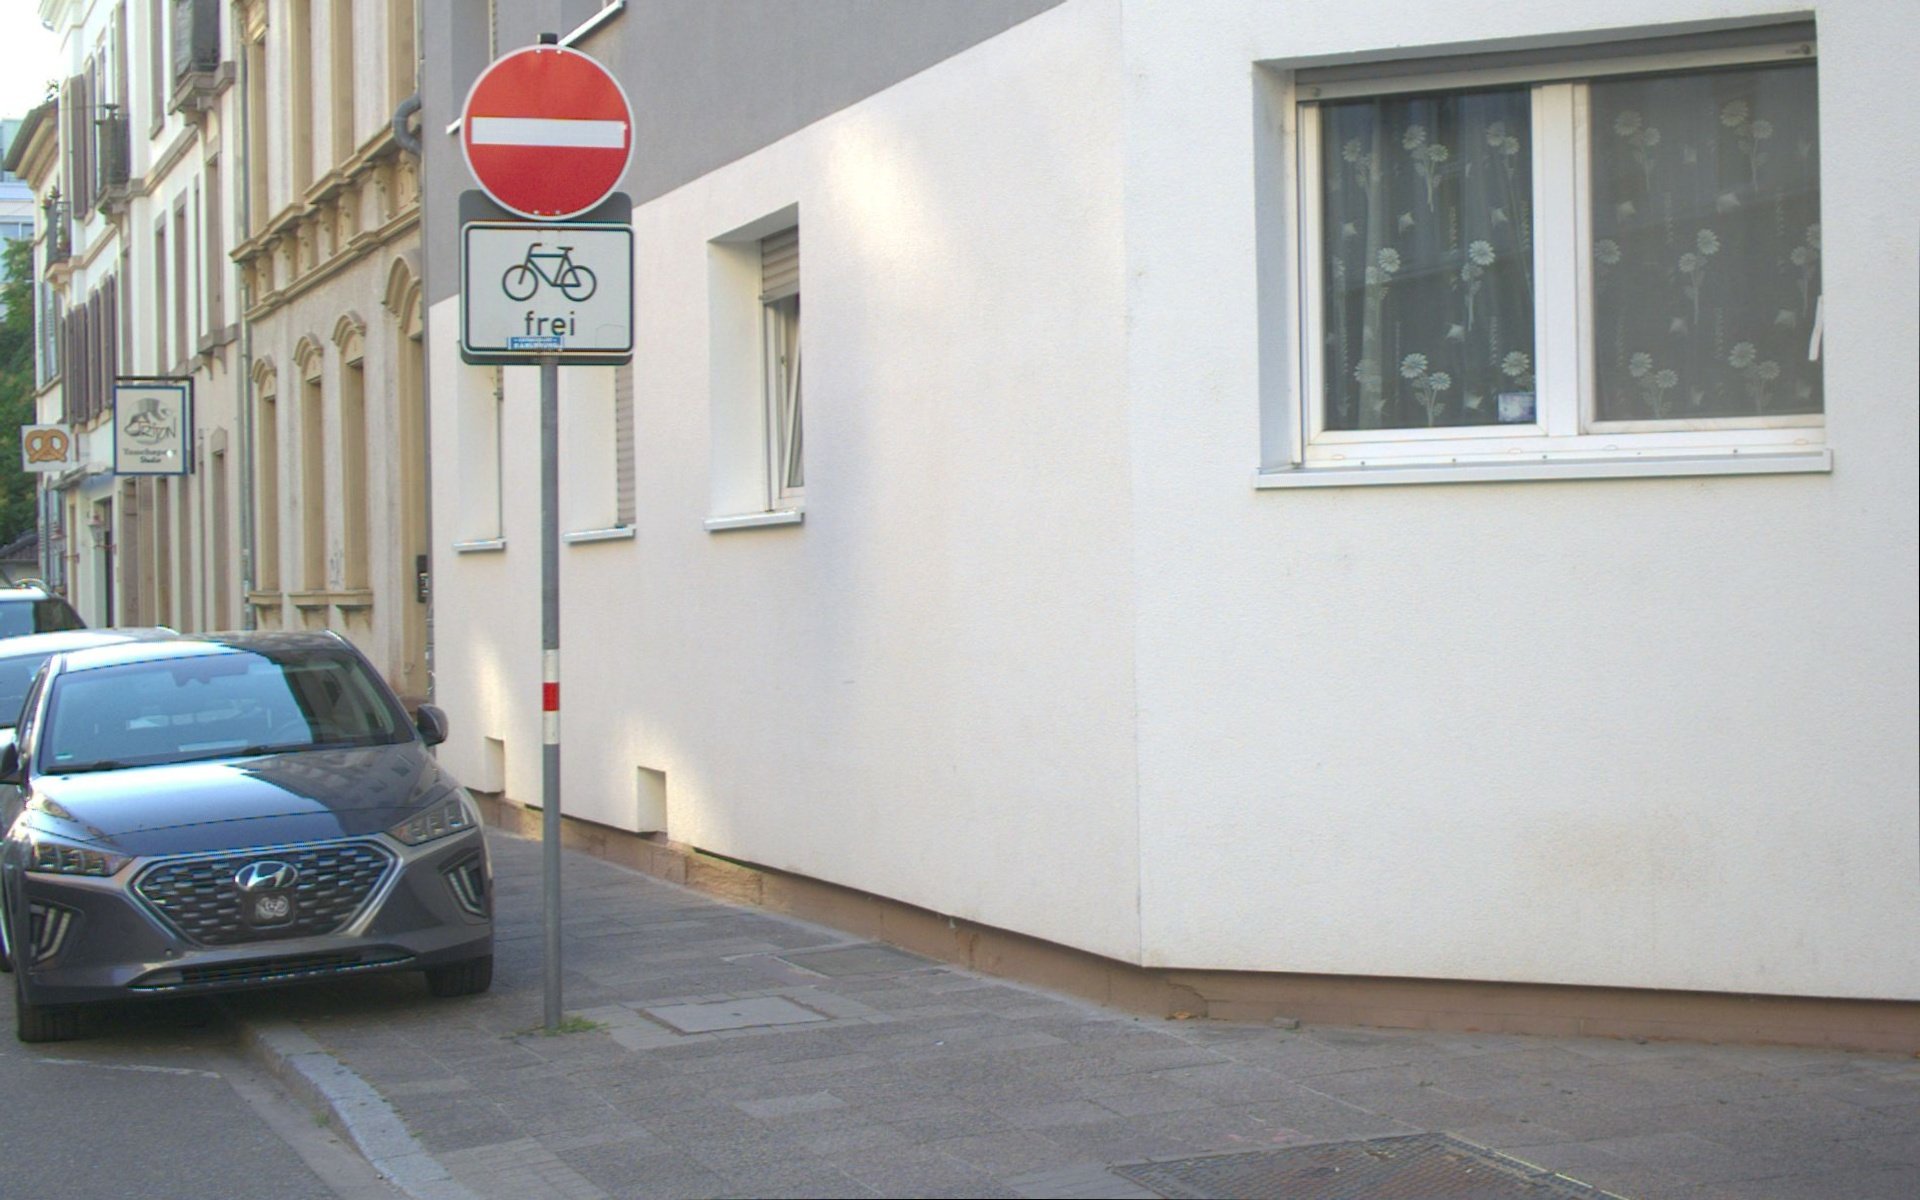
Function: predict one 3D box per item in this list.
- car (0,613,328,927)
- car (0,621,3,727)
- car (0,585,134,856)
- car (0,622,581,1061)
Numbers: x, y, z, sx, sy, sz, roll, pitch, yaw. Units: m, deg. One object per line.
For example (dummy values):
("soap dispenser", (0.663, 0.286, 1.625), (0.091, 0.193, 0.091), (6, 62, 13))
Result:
("car", (-4.895, 0.879, 19.601), (1.963, 1.552, 3.890), (-1, 0, -19))
("car", (-14.627, 1.020, 48.573), (1.993, 1.446, 4.001), (-1, 0, -17))
("car", (-7.117, 0.806, 24.646), (1.893, 1.778, 4.001), (-1, 0, -19))
("car", (-2.944, 0.839, 13.851), (1.937, 1.367, 3.790), (-3, 1, -19))
